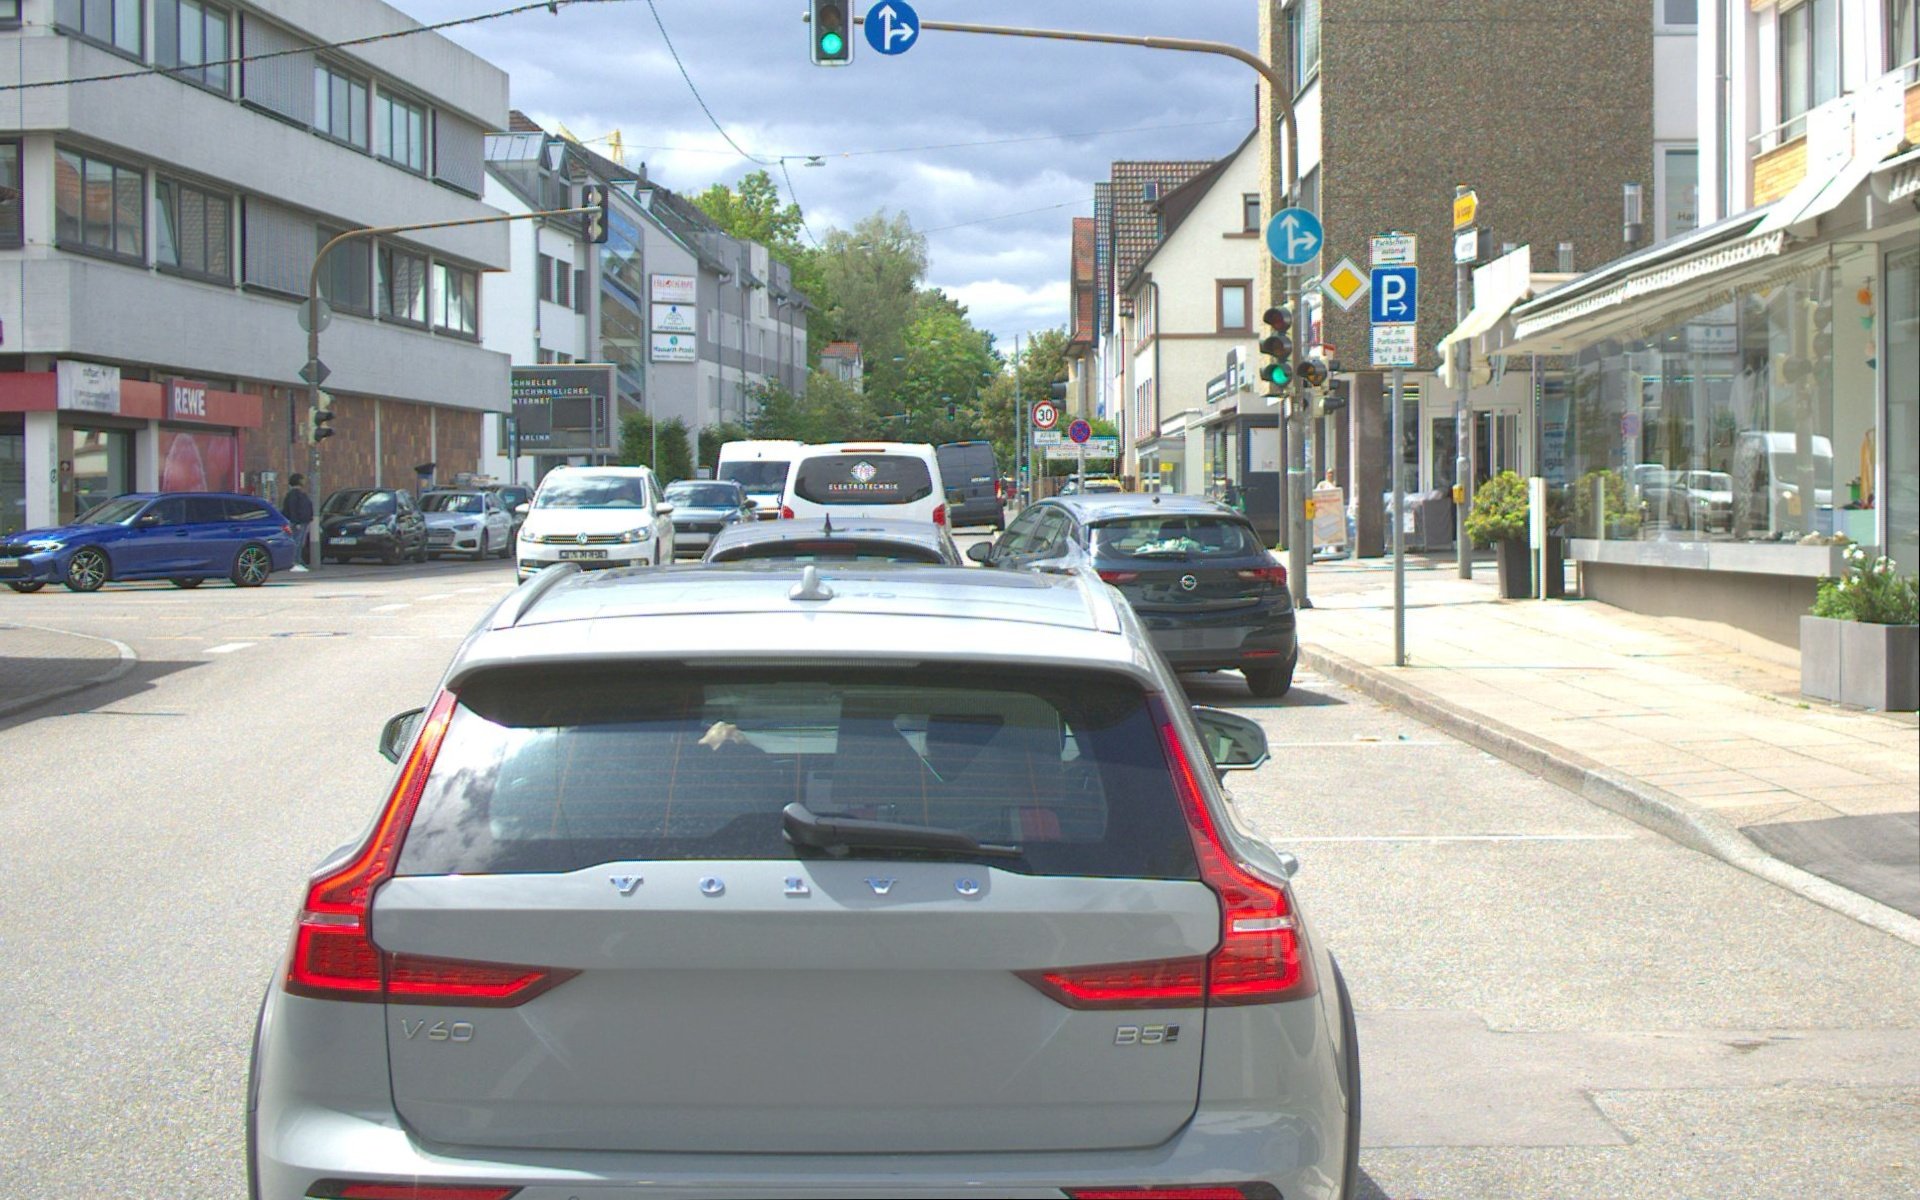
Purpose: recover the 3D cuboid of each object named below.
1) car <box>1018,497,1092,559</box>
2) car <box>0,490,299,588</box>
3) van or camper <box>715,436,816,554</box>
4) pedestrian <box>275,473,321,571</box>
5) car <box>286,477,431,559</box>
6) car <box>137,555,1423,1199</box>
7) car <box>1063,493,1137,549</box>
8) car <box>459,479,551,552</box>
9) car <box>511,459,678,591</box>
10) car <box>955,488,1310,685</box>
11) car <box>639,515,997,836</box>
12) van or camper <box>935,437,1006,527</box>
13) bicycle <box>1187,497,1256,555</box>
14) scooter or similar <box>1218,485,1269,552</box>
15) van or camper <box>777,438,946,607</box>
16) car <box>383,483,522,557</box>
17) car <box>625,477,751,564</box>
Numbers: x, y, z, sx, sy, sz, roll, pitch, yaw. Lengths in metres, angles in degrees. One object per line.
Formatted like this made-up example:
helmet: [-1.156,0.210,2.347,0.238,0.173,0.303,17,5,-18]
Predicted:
car: [2.026,-1.544,73.891,1.438,1.283,3.248,0,1,-1]
car: [-12.152,-0.928,50.851,1.998,1.333,4.346,1,3,41]
van or camper: [-4.387,-2.439,78.244,2.148,2.547,5.439,-1,3,-2]
pedestrian: [-11.193,-1.325,58.121,0.619,1.635,0.660,-1,2,1]
car: [-11.332,-1.562,64.997,1.785,1.459,4.086,1,2,4]
car: [-0.278,0.658,6.920,1.836,1.481,4.000,0,1,-1]
car: [3.817,-2.150,94.396,1.710,1.459,4.000,0,0,-2]
car: [-10.151,-1.907,76.896,1.607,1.537,2.944,1,2,1]
car: [-4.800,-1.035,45.615,1.775,1.607,4.120,-2,3,0]
car: [1.199,-0.134,25.582,1.807,1.342,3.719,-1,1,-11]
car: [-0.680,0.308,17.760,1.650,1.477,3.608,0,1,-1]
van or camper: [0.344,-3.636,106.057,2.123,2.677,4.781,-1,2,1]
bicycle: [5.276,-1.506,69.449,0.554,1.140,2.301,-2,2,-18]
scooter or similar: [5.452,-1.564,66.148,0.340,1.249,1.246,-3,1,-26]
van or camper: [-1.083,-0.865,39.101,1.819,1.828,4.000,0,1,-1]
car: [-10.437,-1.672,71.002,1.904,1.438,4.443,1,2,4]
car: [-4.840,-1.420,61.516,1.791,1.506,3.845,0,1,2]
